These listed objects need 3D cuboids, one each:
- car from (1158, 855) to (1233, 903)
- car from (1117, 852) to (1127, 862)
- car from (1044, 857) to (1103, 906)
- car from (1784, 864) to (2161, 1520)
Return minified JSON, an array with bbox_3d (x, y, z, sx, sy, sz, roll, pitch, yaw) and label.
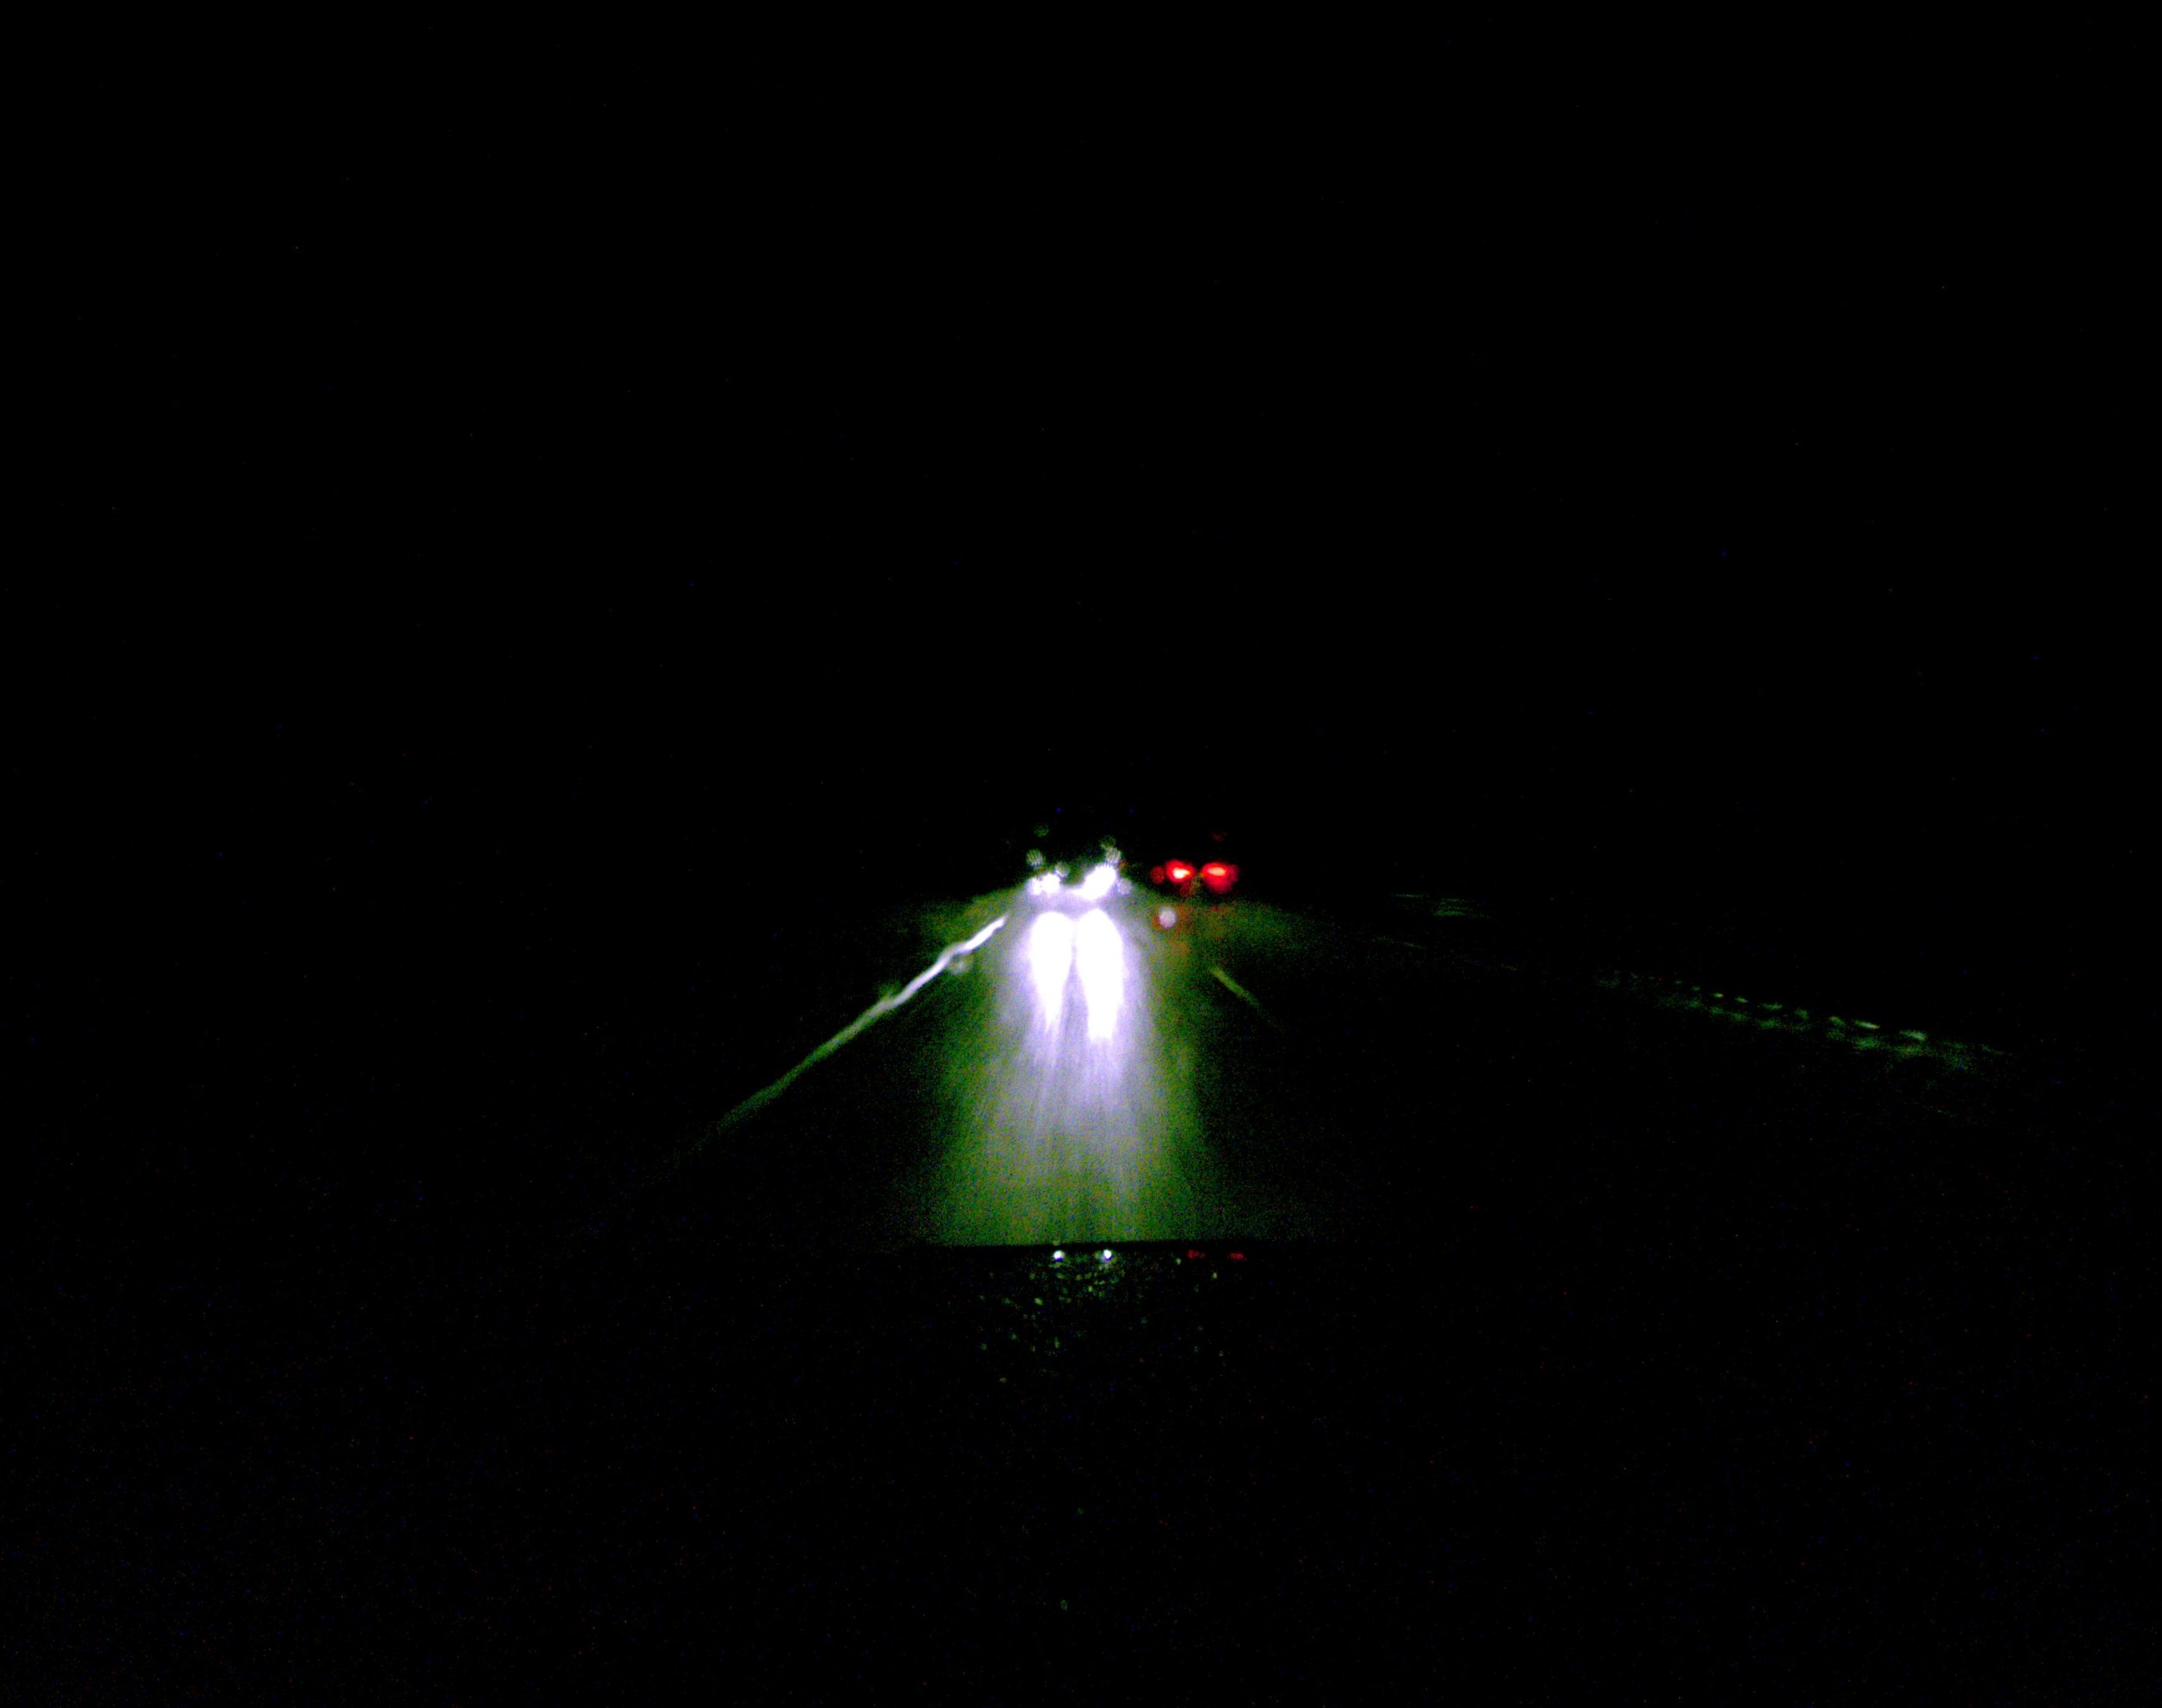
[{"bbox_3d":[3.887,0.805,26.556,1.980,1.507,4.346,0,0,0],"label":"car"},{"bbox_3d":[8.677,0.652,160.450,1.841,1.833,4.001,1,-1,1],"label":"car"},{"bbox_3d":[-0.175,0.896,26.244,1.744,1.501,3.601,-2,0,3],"label":"car"},{"bbox_3d":[3.425,0.805,0.936,1.790,1.501,3.600,-1,0,0],"label":"car"}]
